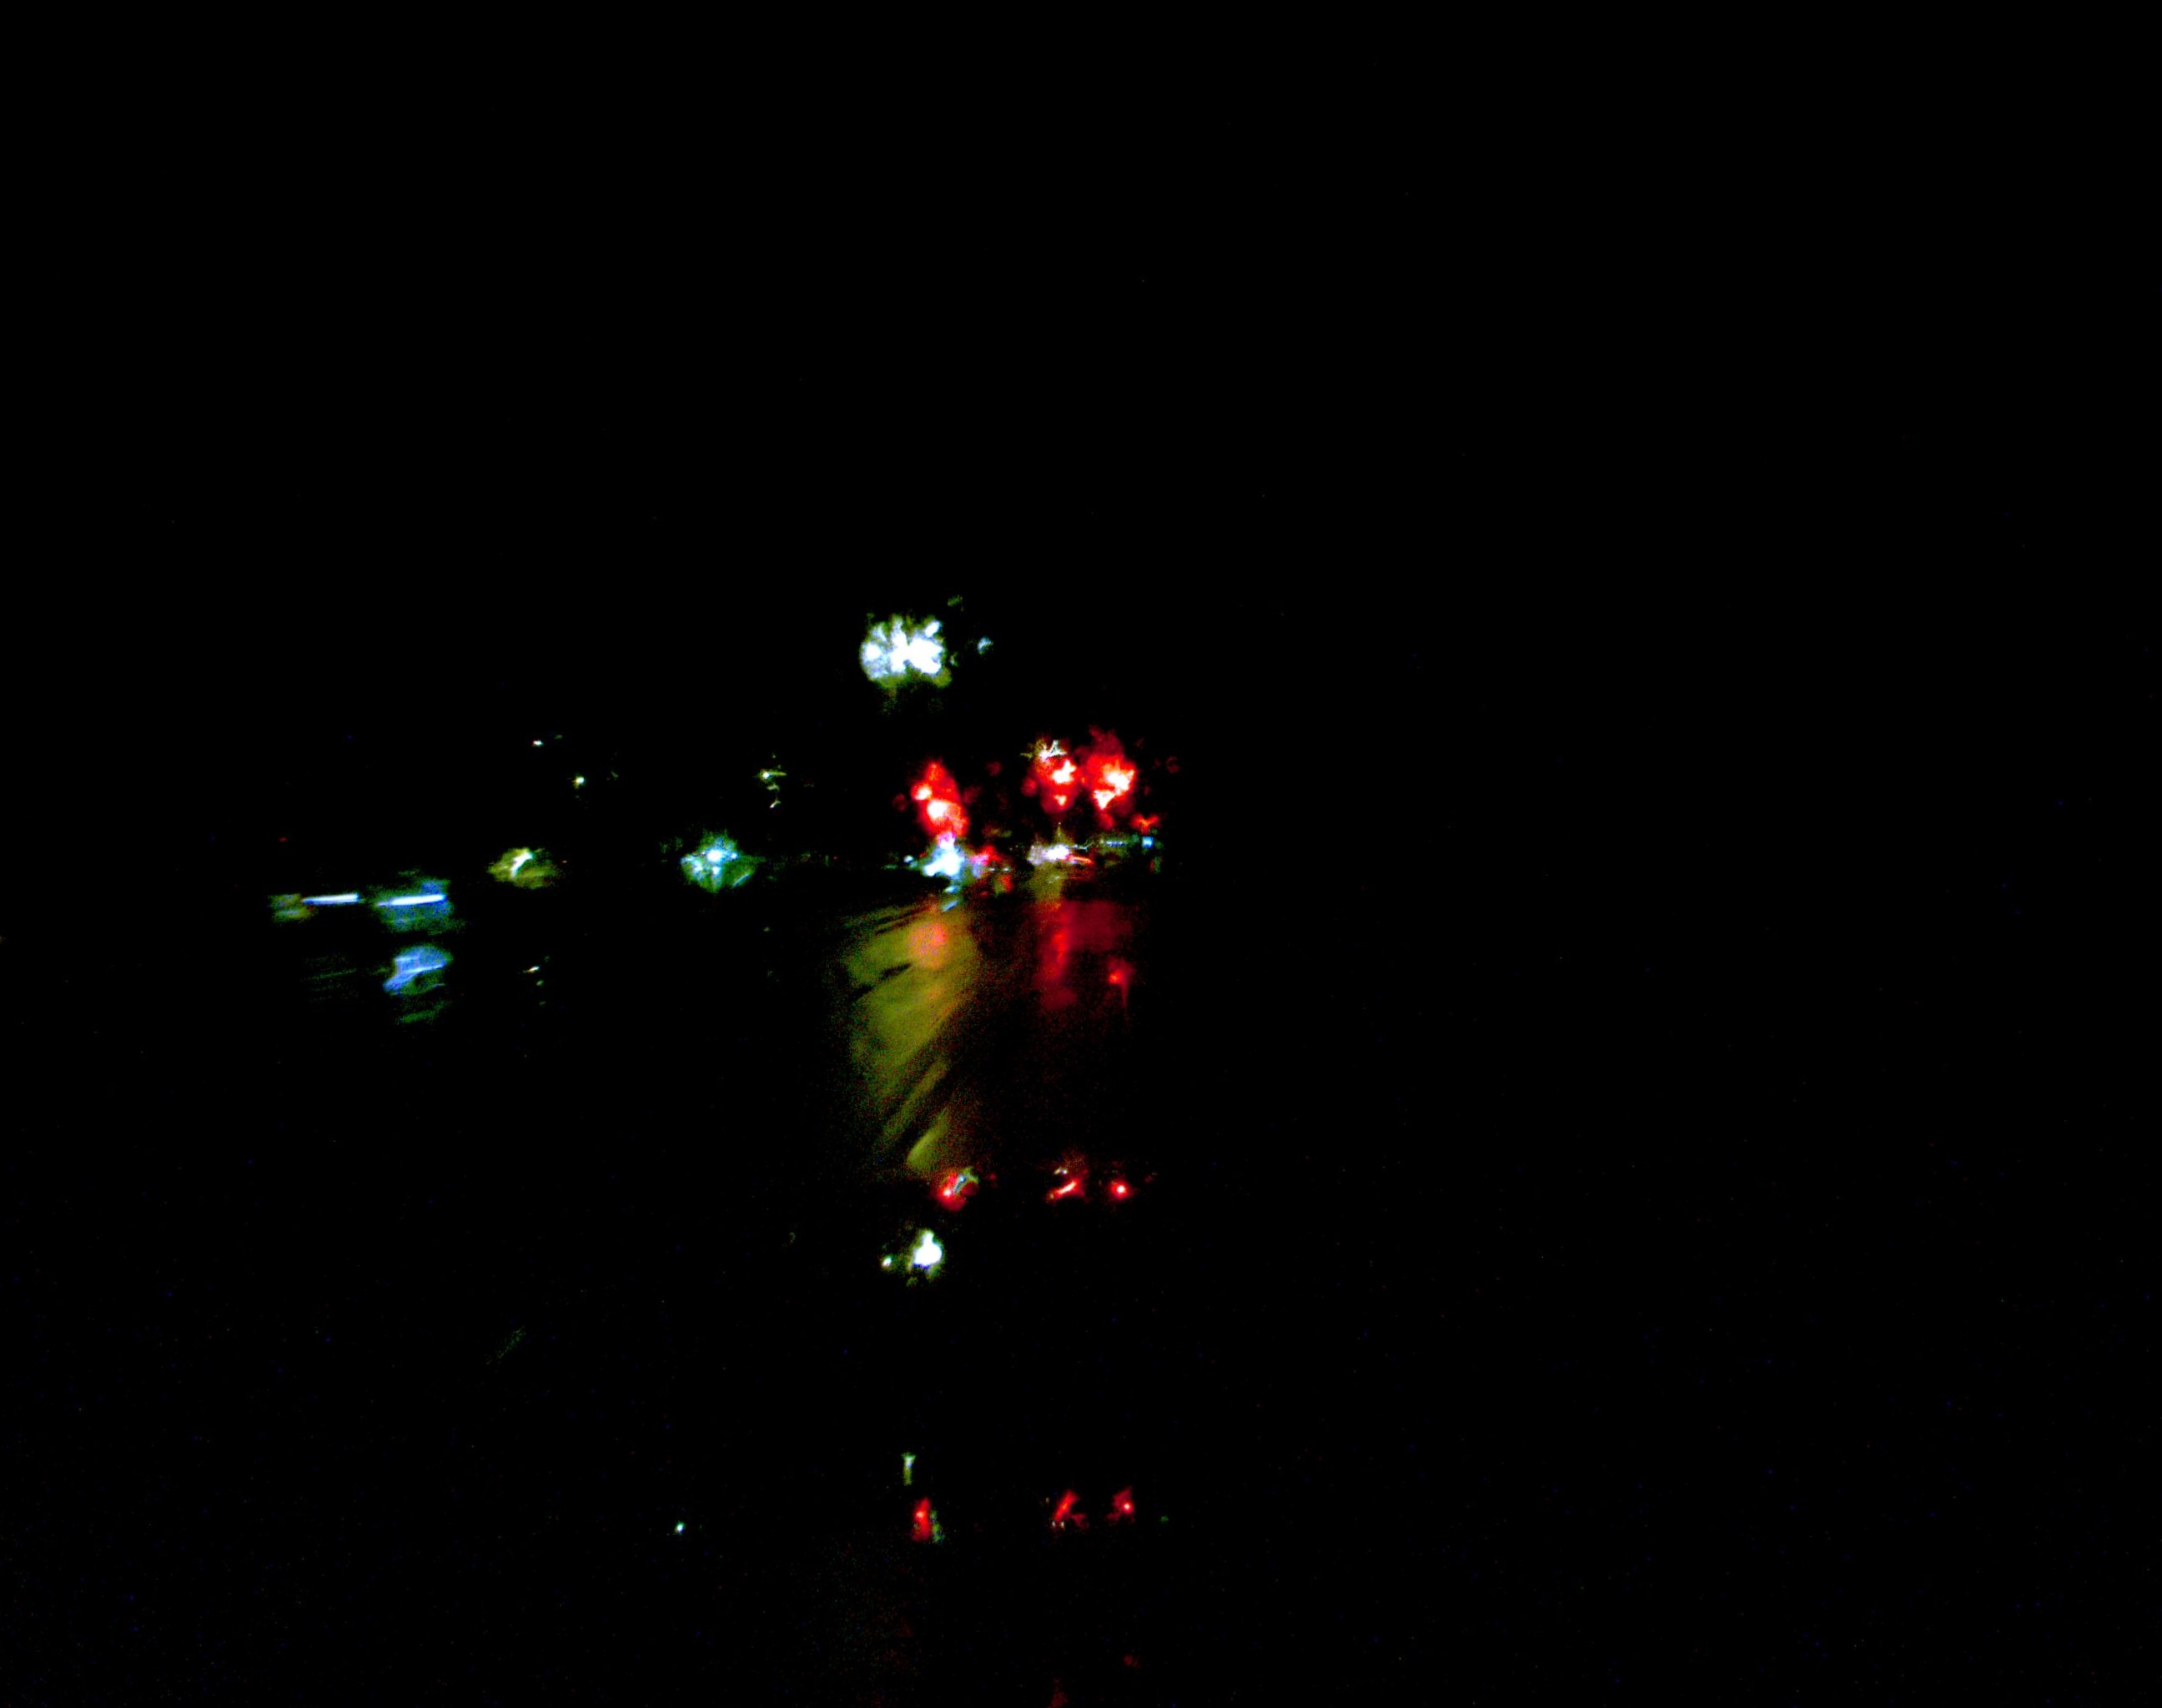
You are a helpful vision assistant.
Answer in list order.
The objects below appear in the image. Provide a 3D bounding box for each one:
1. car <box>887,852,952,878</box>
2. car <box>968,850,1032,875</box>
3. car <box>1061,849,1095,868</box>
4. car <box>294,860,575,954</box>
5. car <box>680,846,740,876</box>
[{"bbox_3d":[-10.720,0.697,54.216,3.978,1.662,1.998,-1,0,-4],"label":"car"},{"bbox_3d":[-5.648,0.559,56.798,4.013,1.662,1.980,-1,0,-31],"label":"car"},{"bbox_3d":[-0.212,0.361,63.859,1.949,1.428,3.944,-1,0,10],"label":"car"},{"bbox_3d":[-12.495,0.921,16.234,1.988,1.507,4.554,-1,1,-1],"label":"car"},{"bbox_3d":[-26.483,0.496,58.124,3.948,2.013,2.013,-1,0,32],"label":"car"}]
